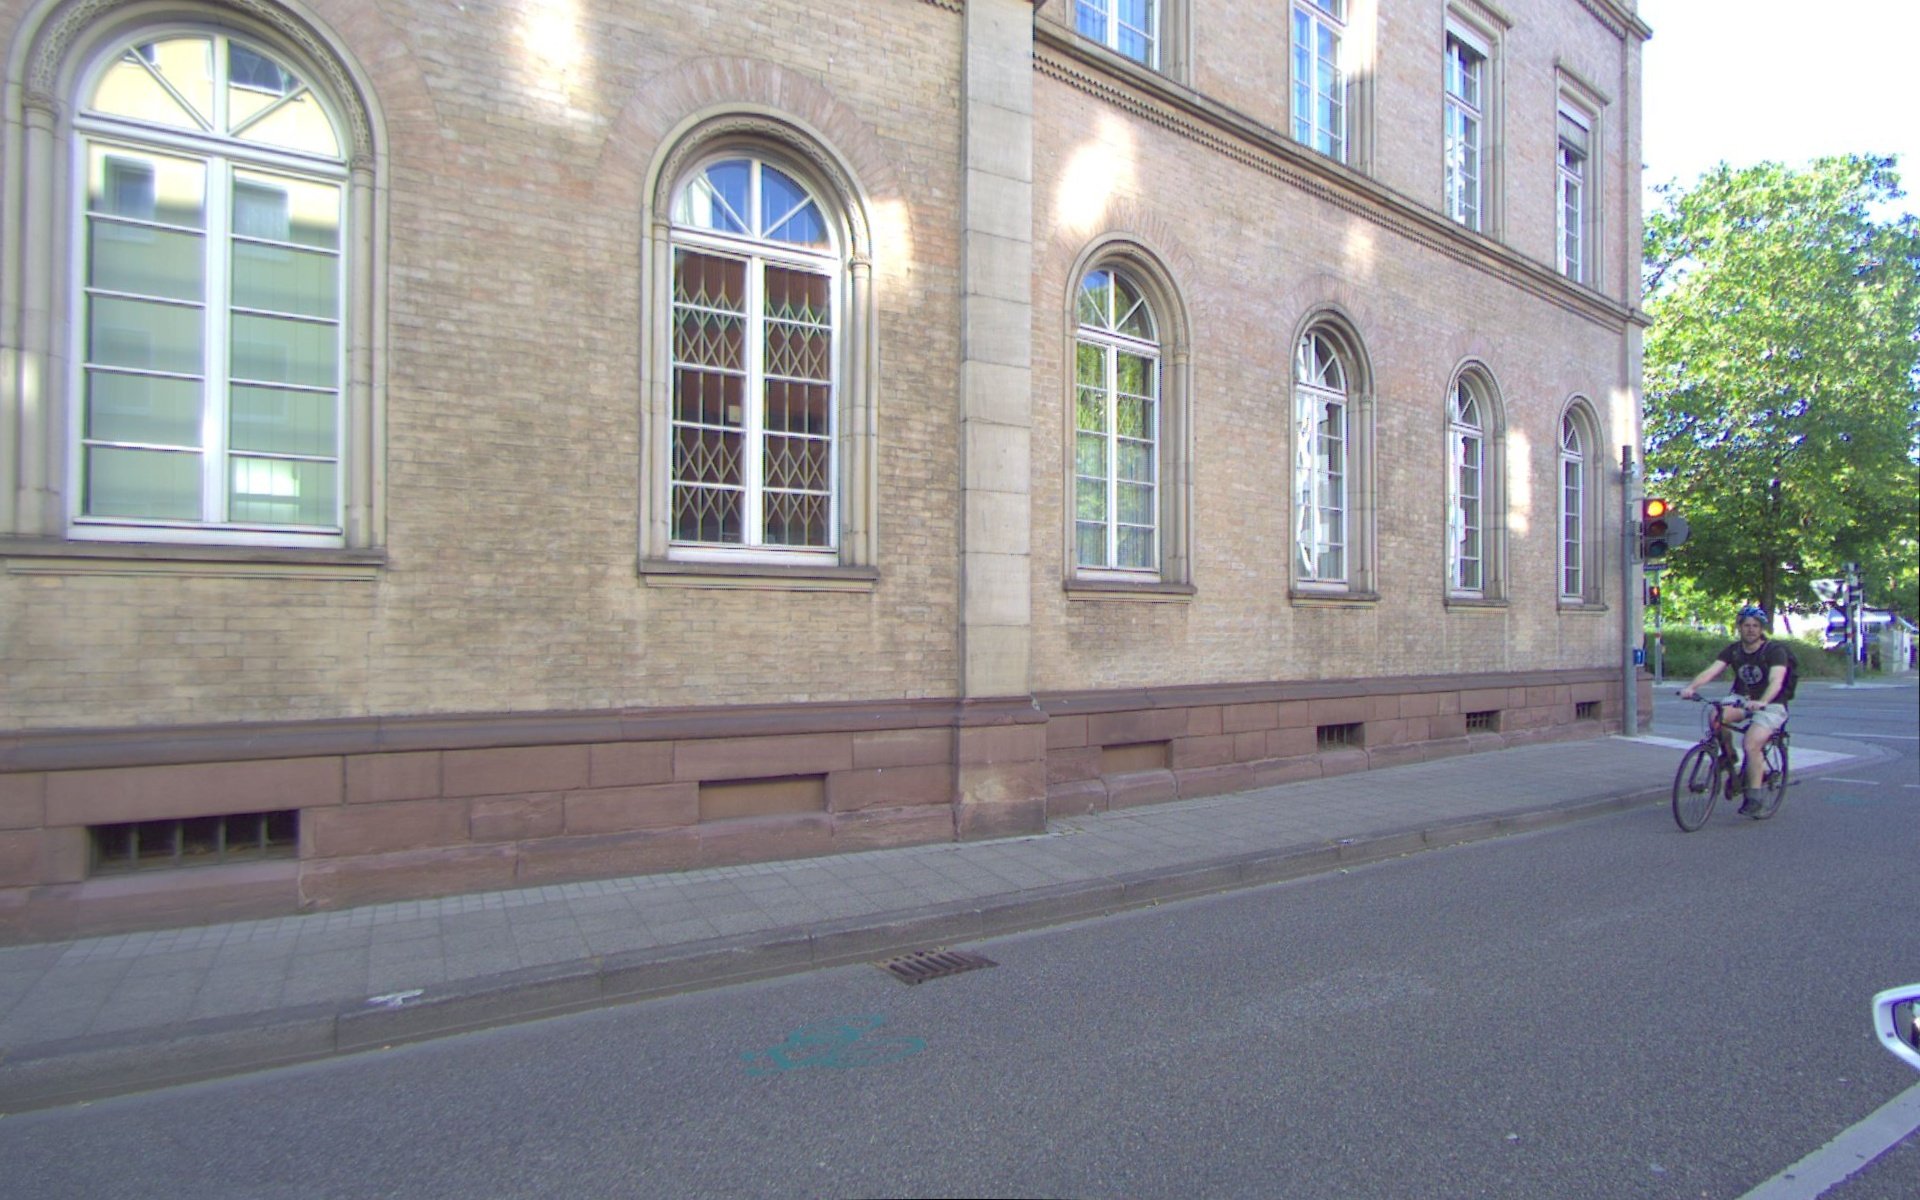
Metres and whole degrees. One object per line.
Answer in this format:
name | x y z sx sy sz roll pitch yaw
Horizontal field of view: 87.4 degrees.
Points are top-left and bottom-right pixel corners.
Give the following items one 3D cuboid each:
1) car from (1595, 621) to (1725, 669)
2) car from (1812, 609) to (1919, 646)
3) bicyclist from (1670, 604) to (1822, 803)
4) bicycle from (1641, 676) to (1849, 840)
car | 24.376 1.526 35.036 1.636 1.476 3.382 2 0 -39
car | 53.495 1.602 59.401 1.983 2.040 4.409 2 0 -38
bicyclist | 6.502 0.815 8.314 1.065 1.547 0.588 1 -1 -27
bicycle | 6.498 1.248 8.296 1.944 1.167 0.588 1 -1 -27
